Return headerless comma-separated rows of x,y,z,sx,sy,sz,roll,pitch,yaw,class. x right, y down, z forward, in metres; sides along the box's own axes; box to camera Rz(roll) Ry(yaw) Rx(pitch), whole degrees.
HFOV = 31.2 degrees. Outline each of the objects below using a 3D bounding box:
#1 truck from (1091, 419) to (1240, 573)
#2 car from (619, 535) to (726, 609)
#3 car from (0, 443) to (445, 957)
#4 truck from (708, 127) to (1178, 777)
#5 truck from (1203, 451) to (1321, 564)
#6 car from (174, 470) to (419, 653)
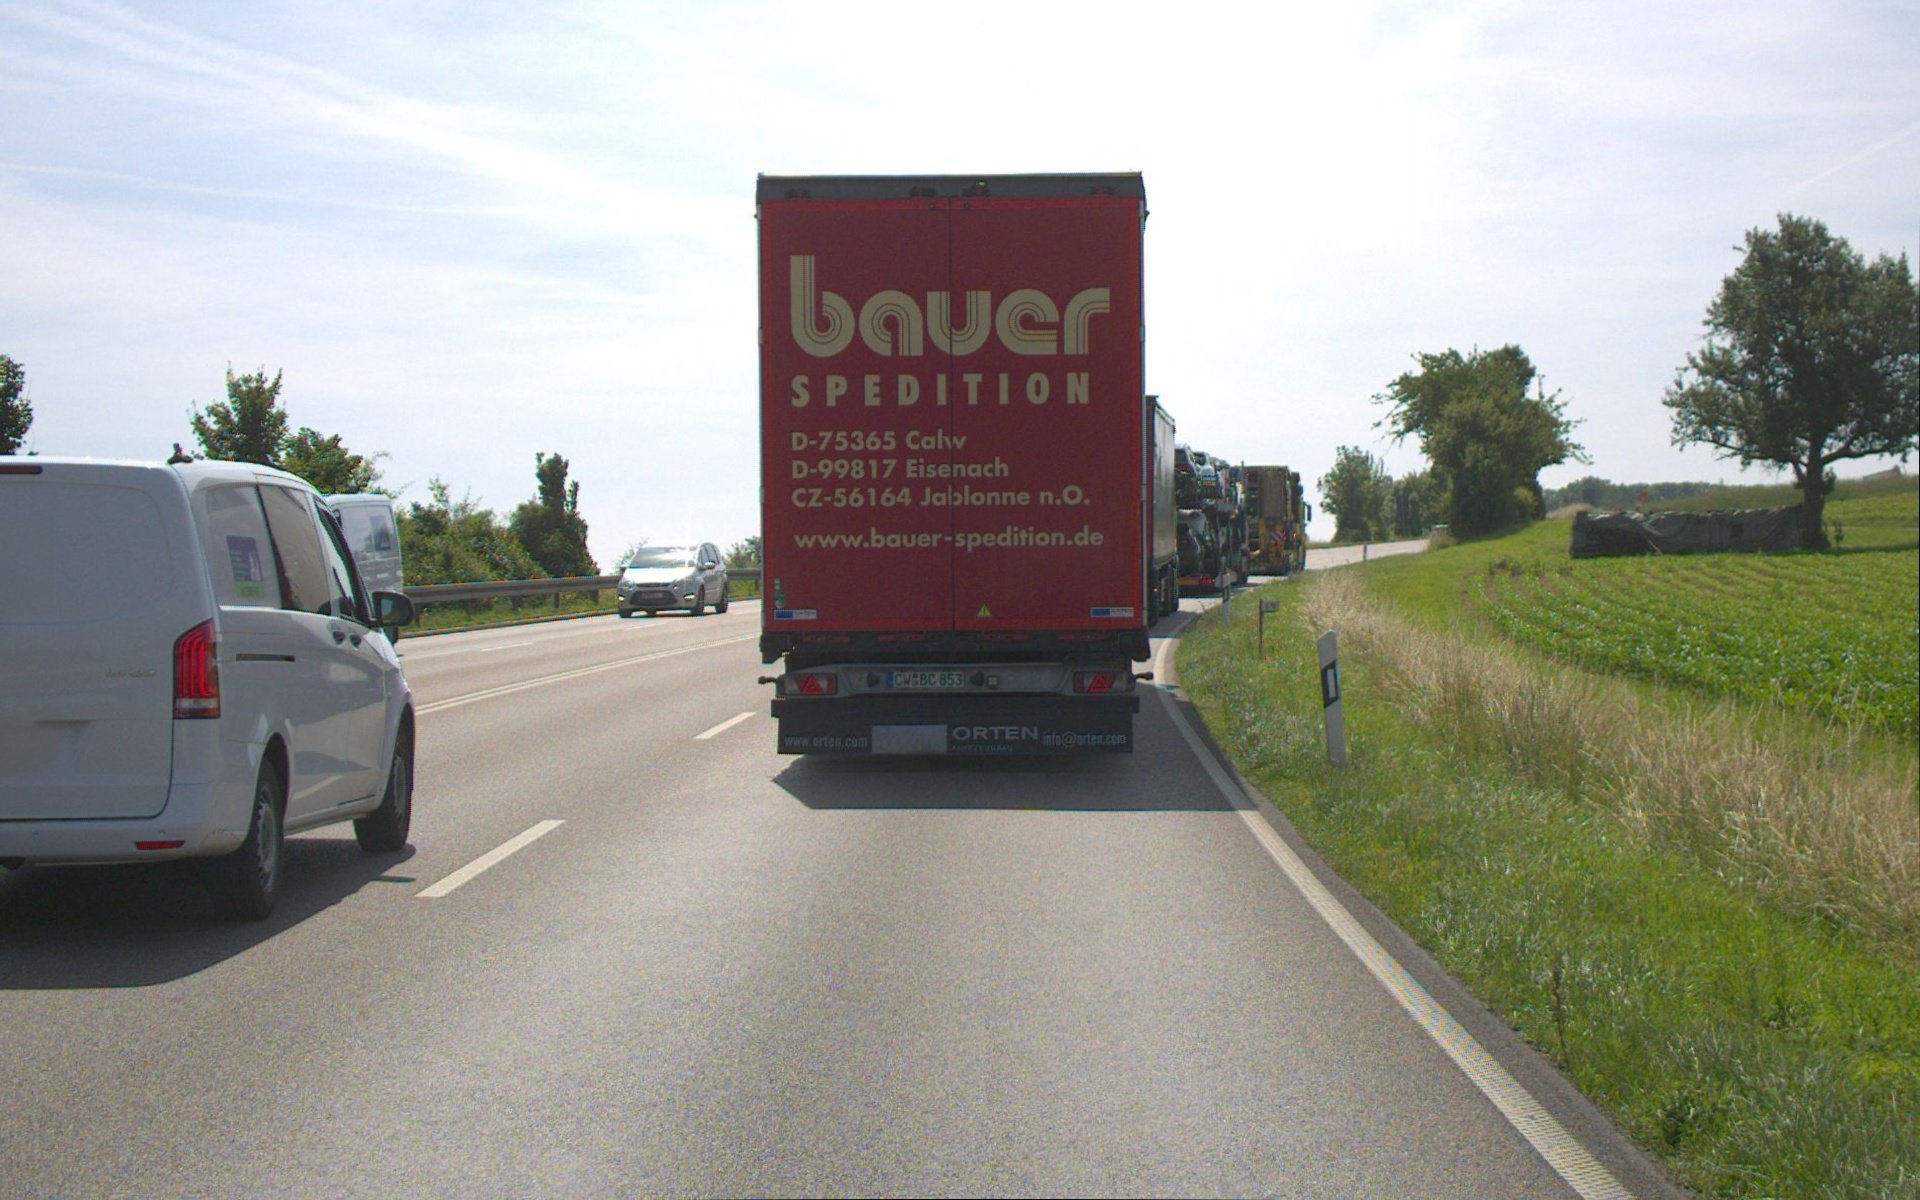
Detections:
5.895,-2.853,96.006,3.048,3.897,15.612,-1,1,7,truck
-6.323,-0.645,76.117,1.813,1.563,4.684,0,1,2,car
-3.669,0.326,15.267,1.905,1.878,5.432,0,1,0,car
-0.059,-1.119,30.407,3.007,4.165,16.715,0,1,0,truck
11.515,-3.436,129.347,3.048,3.897,18.391,-1,1,9,truck
-9.202,-0.557,48.216,2.088,2.386,5.844,-1,1,2,car
